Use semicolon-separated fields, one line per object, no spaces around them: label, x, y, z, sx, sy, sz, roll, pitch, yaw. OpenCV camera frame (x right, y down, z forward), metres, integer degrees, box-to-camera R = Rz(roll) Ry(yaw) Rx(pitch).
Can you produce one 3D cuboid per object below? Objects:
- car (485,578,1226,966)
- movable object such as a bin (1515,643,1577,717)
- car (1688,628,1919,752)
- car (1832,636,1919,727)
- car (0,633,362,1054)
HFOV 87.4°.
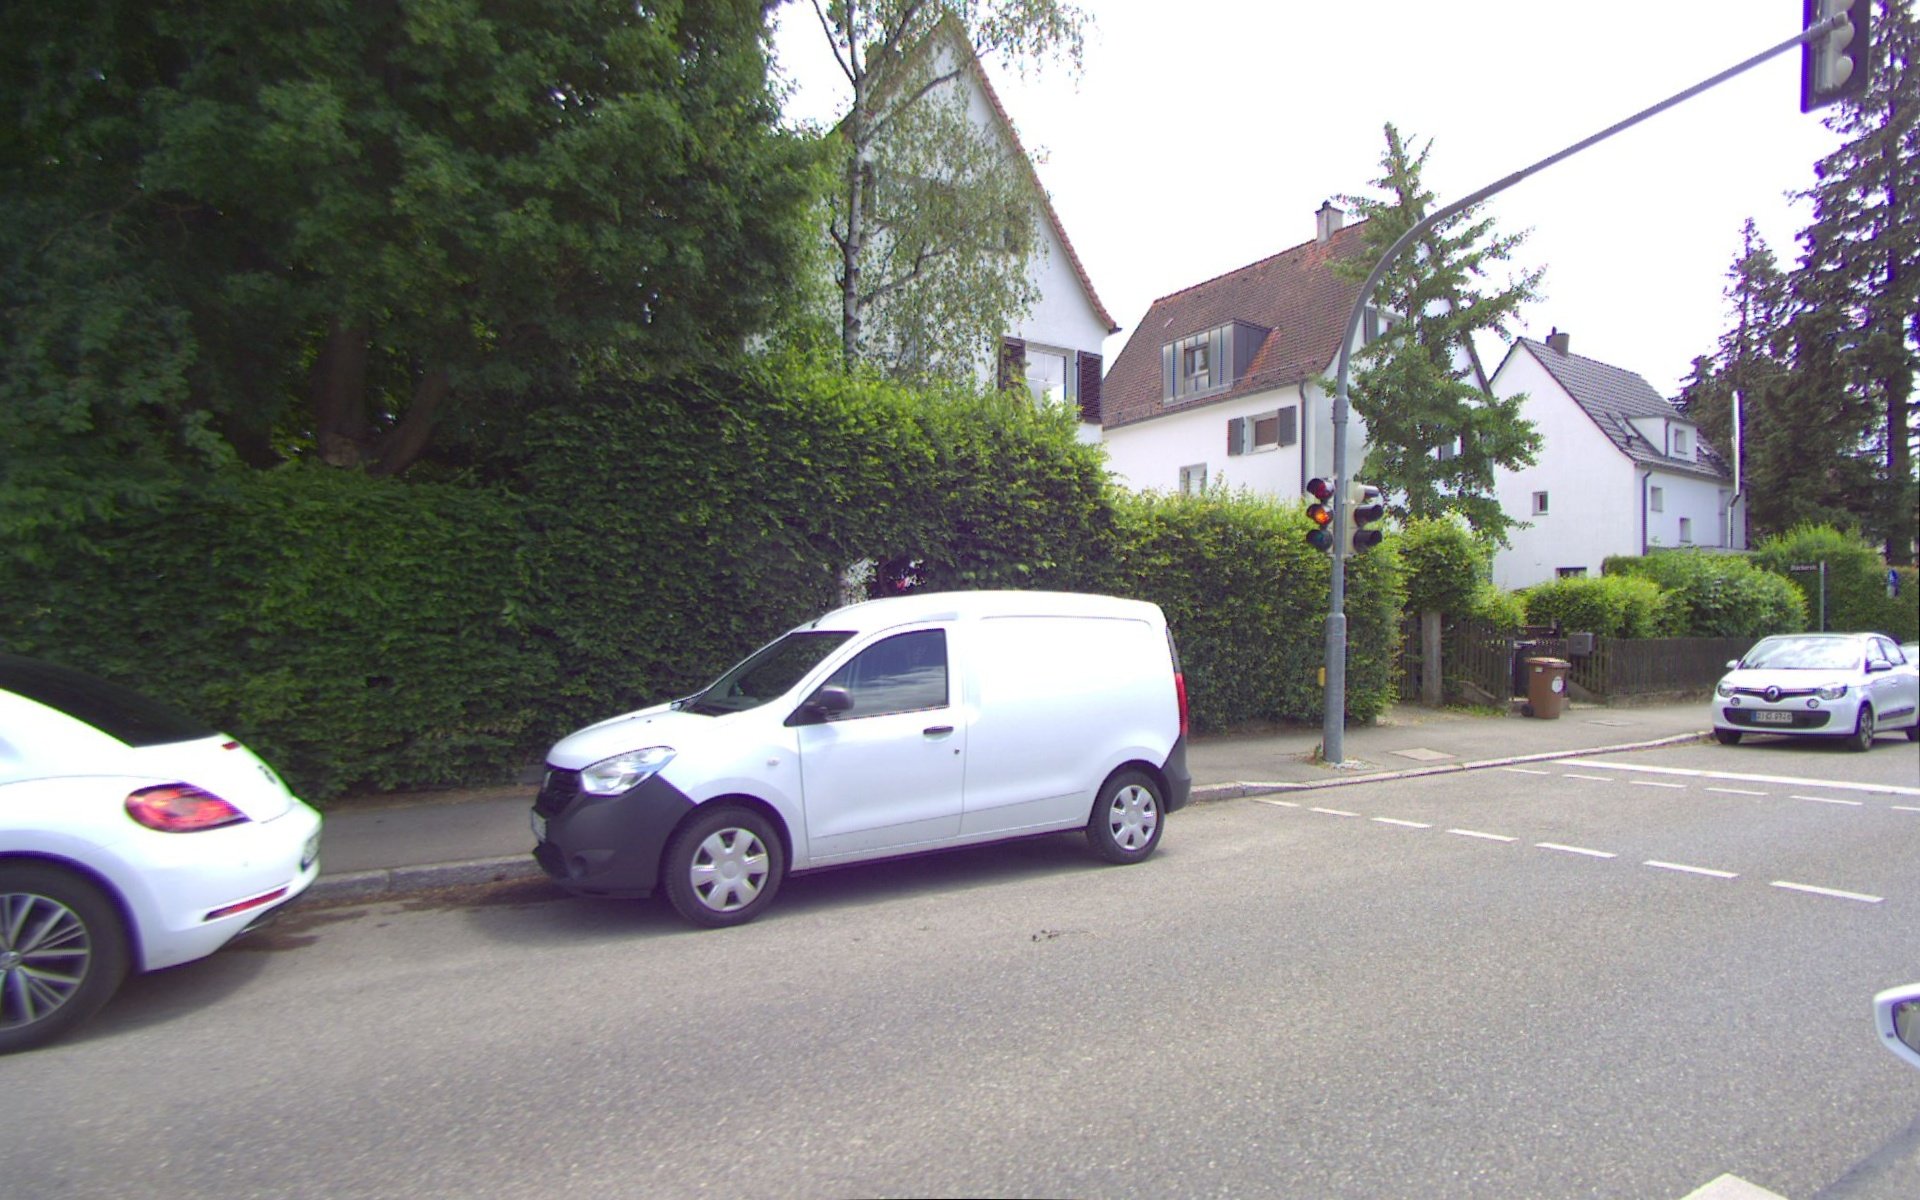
car;-0.502;0.855;6.560;4.556;1.781;1.668;1;-3;-32
movable object such as a bin;9.271;1.255;15.906;0.740;1.095;0.513;1;2;-31
car;12.314;1.204;14.376;3.698;1.563;1.695;1;-3;-30
car;16.943;1.338;17.199;4.272;1.429;1.735;1;-3;-30
car;-4.814;0.897;3.749;4.302;1.472;1.699;1;-4;-28
